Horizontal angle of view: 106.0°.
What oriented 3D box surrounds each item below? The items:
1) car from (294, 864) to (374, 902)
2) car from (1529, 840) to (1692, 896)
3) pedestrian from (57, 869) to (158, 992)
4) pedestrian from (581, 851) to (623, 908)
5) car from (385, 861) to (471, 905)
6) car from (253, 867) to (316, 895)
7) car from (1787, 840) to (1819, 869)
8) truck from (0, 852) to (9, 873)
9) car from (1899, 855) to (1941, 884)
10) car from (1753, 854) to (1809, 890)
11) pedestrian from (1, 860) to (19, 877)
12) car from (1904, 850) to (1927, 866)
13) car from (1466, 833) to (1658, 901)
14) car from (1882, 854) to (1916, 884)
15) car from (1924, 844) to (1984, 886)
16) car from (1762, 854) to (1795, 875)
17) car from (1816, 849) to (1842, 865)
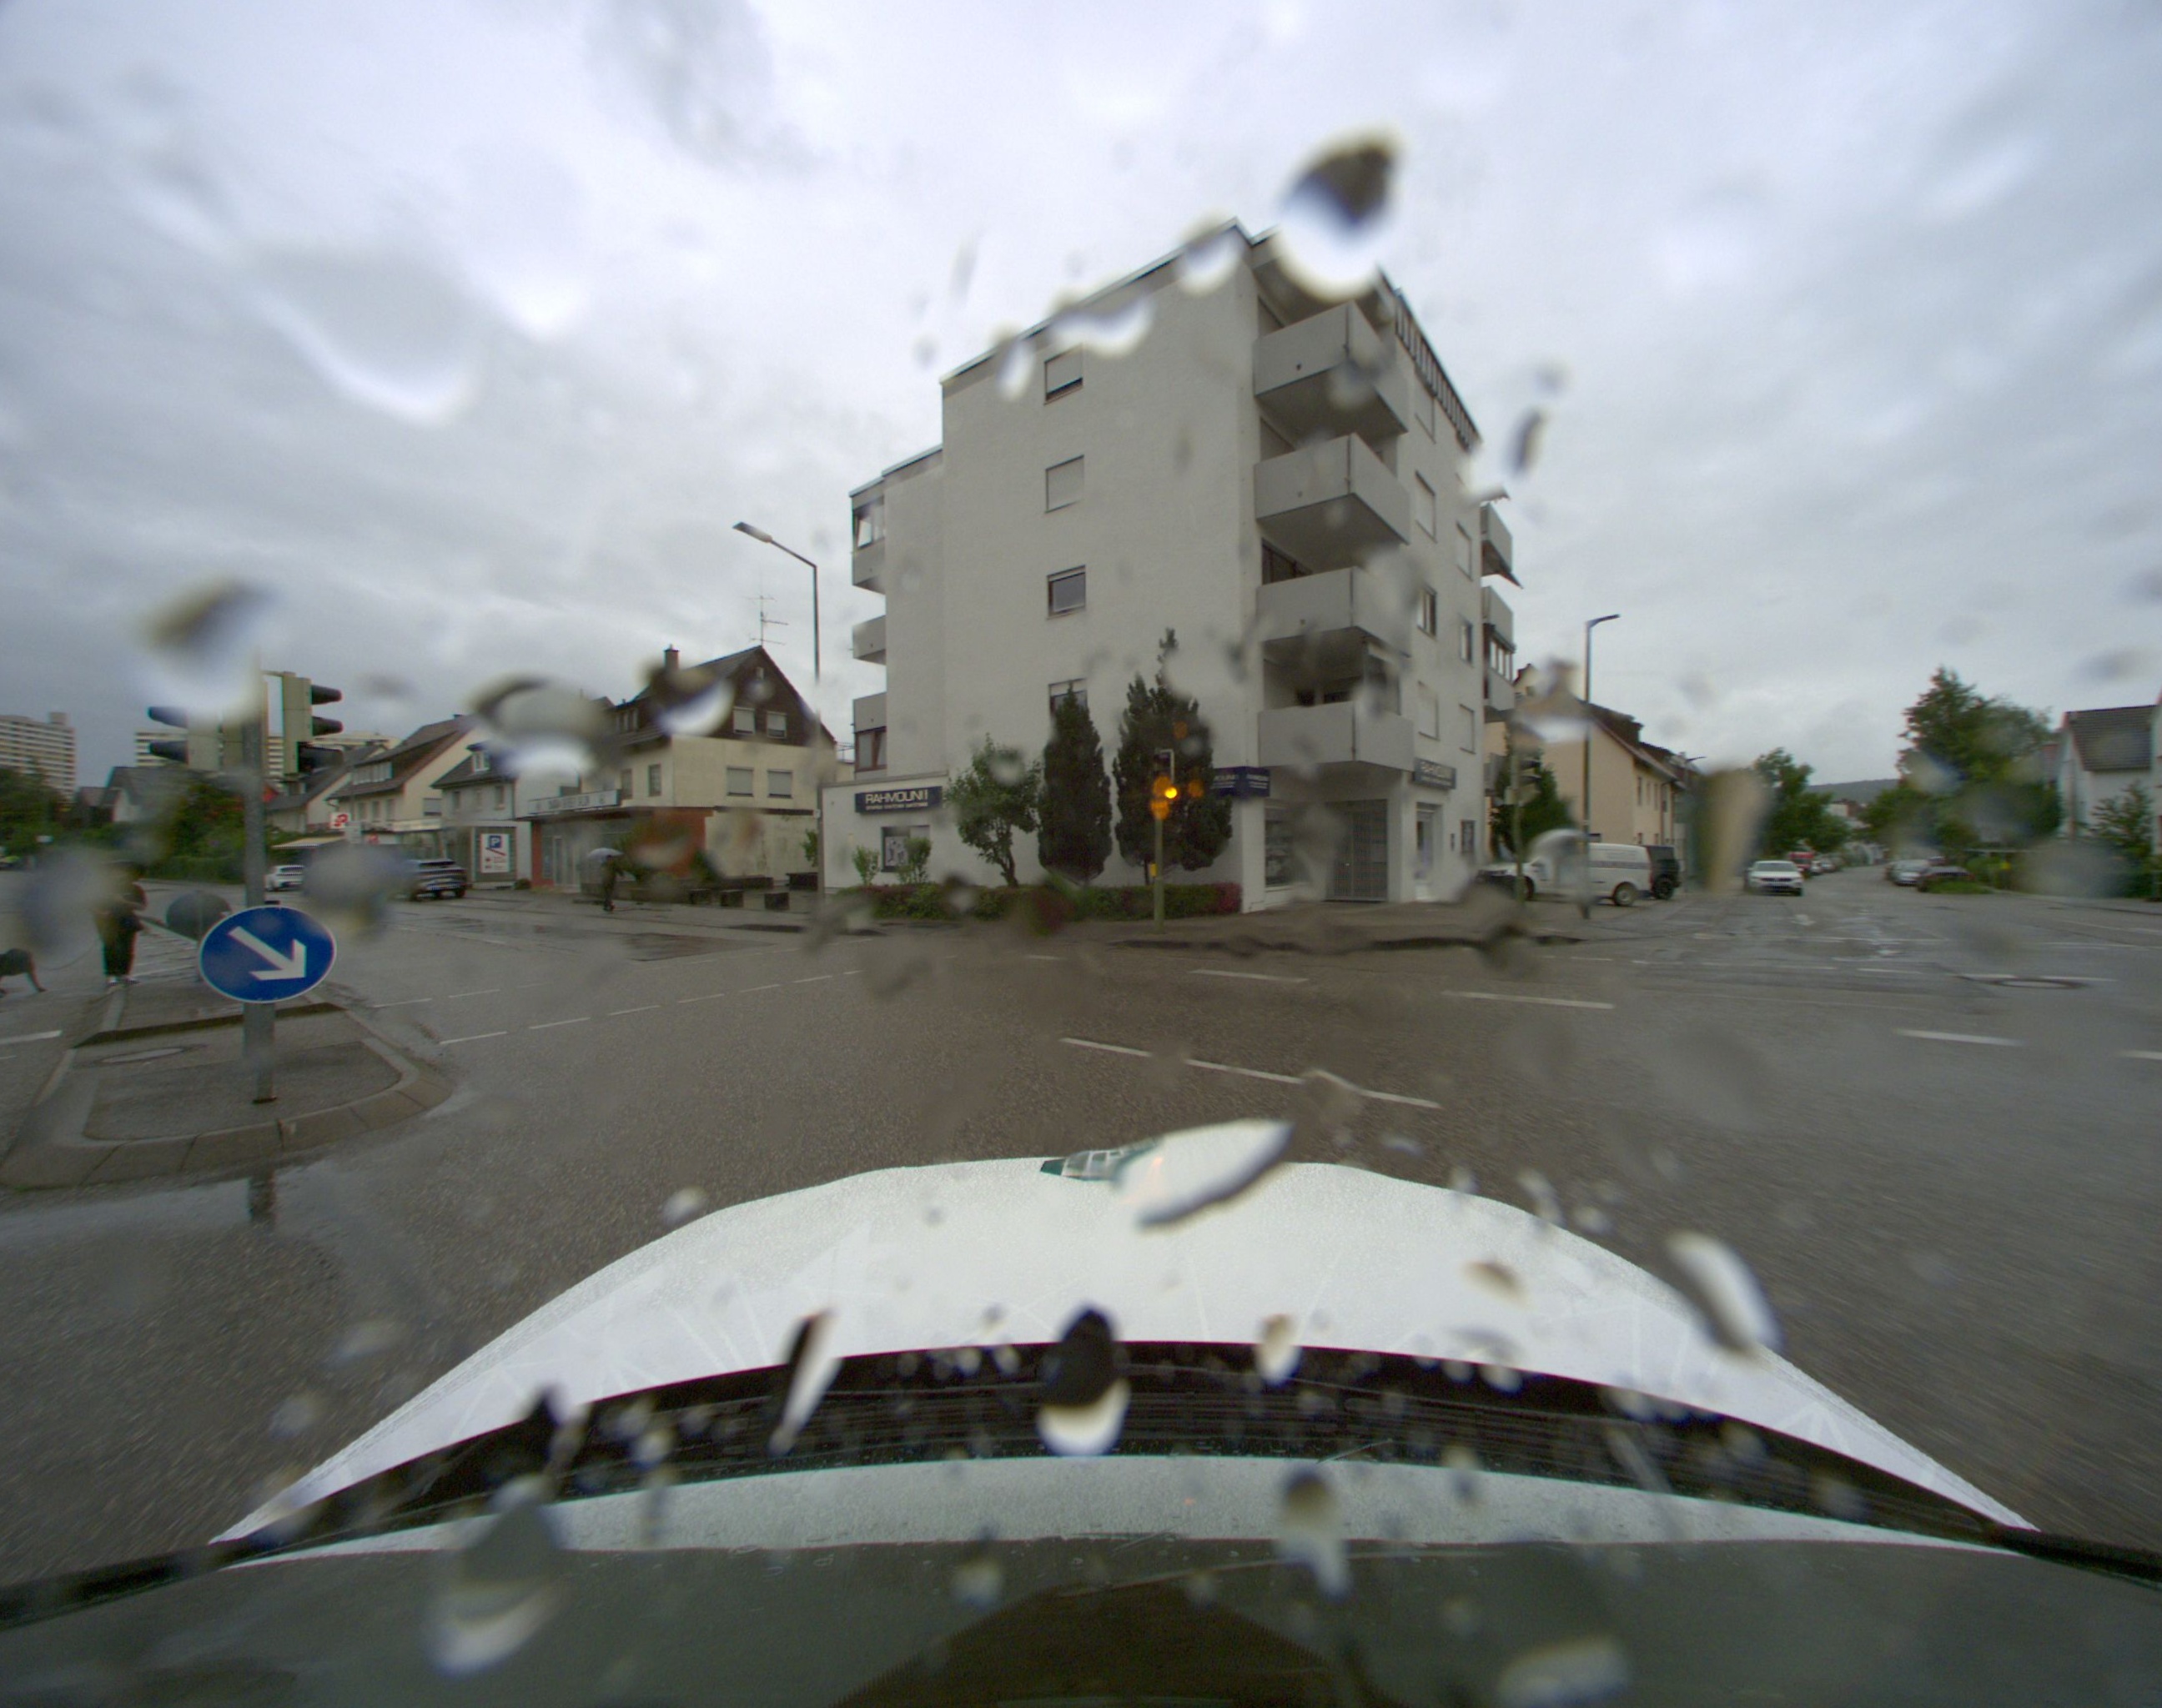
[{"bbox_3d":[-38.462,1.496,41.908,4.898,1.695,2.056,-2,2,37],"label":"car"},{"bbox_3d":[19.241,0.523,29.756,4.589,1.889,1.964,-1,-2,2],"label":"car"},{"bbox_3d":[-14.220,1.078,11.921,0.671,1.702,0.937,-1,-1,-31],"label":"pedestrian"},{"bbox_3d":[-13.620,0.724,23.157,0.980,1.568,0.760,-2,-2,40],"label":"pedestrian"},{"bbox_3d":[-27.967,1.207,34.836,4.731,1.642,1.893,-2,2,40],"label":"car"},{"bbox_3d":[-46.418,1.521,47.422,4.148,1.448,1.833,-1,3,35],"label":"car"},{"bbox_3d":[71.647,0.103,80.888,2.195,2.769,5.760,-2,-2,40],"label":"car"},{"bbox_3d":[-116.022,0.915,86.686,3.948,2.303,2.013,0,1,34],"label":"truck"},{"bbox_3d":[60.518,1.142,58.774,4.023,2.014,1.975,1,-2,-44],"label":"car"},{"bbox_3d":[31.385,0.804,36.589,1.750,1.523,4.025,-2,-2,39],"label":"car"},{"bbox_3d":[-112.254,1.520,85.334,0.792,1.797,0.828,-1,1,12],"label":"pedestrian"},{"bbox_3d":[108.770,0.534,106.128,4.023,2.014,1.975,1,-2,-44],"label":"car"},{"bbox_3d":[14.306,0.400,24.411,4.696,1.778,1.773,2,-2,2],"label":"car"},{"bbox_3d":[80.018,1.419,79.635,7.040,2.805,2.173,1,-2,-44],"label":"car"},{"bbox_3d":[45.468,0.603,42.487,4.022,2.014,1.975,4,-4,-44],"label":"car"},{"bbox_3d":[55.146,0.840,64.425,1.750,1.519,4.025,-2,-2,38],"label":"car"},{"bbox_3d":[91.044,0.350,99.075,4.021,1.706,1.976,3,-4,-43],"label":"car"}]
